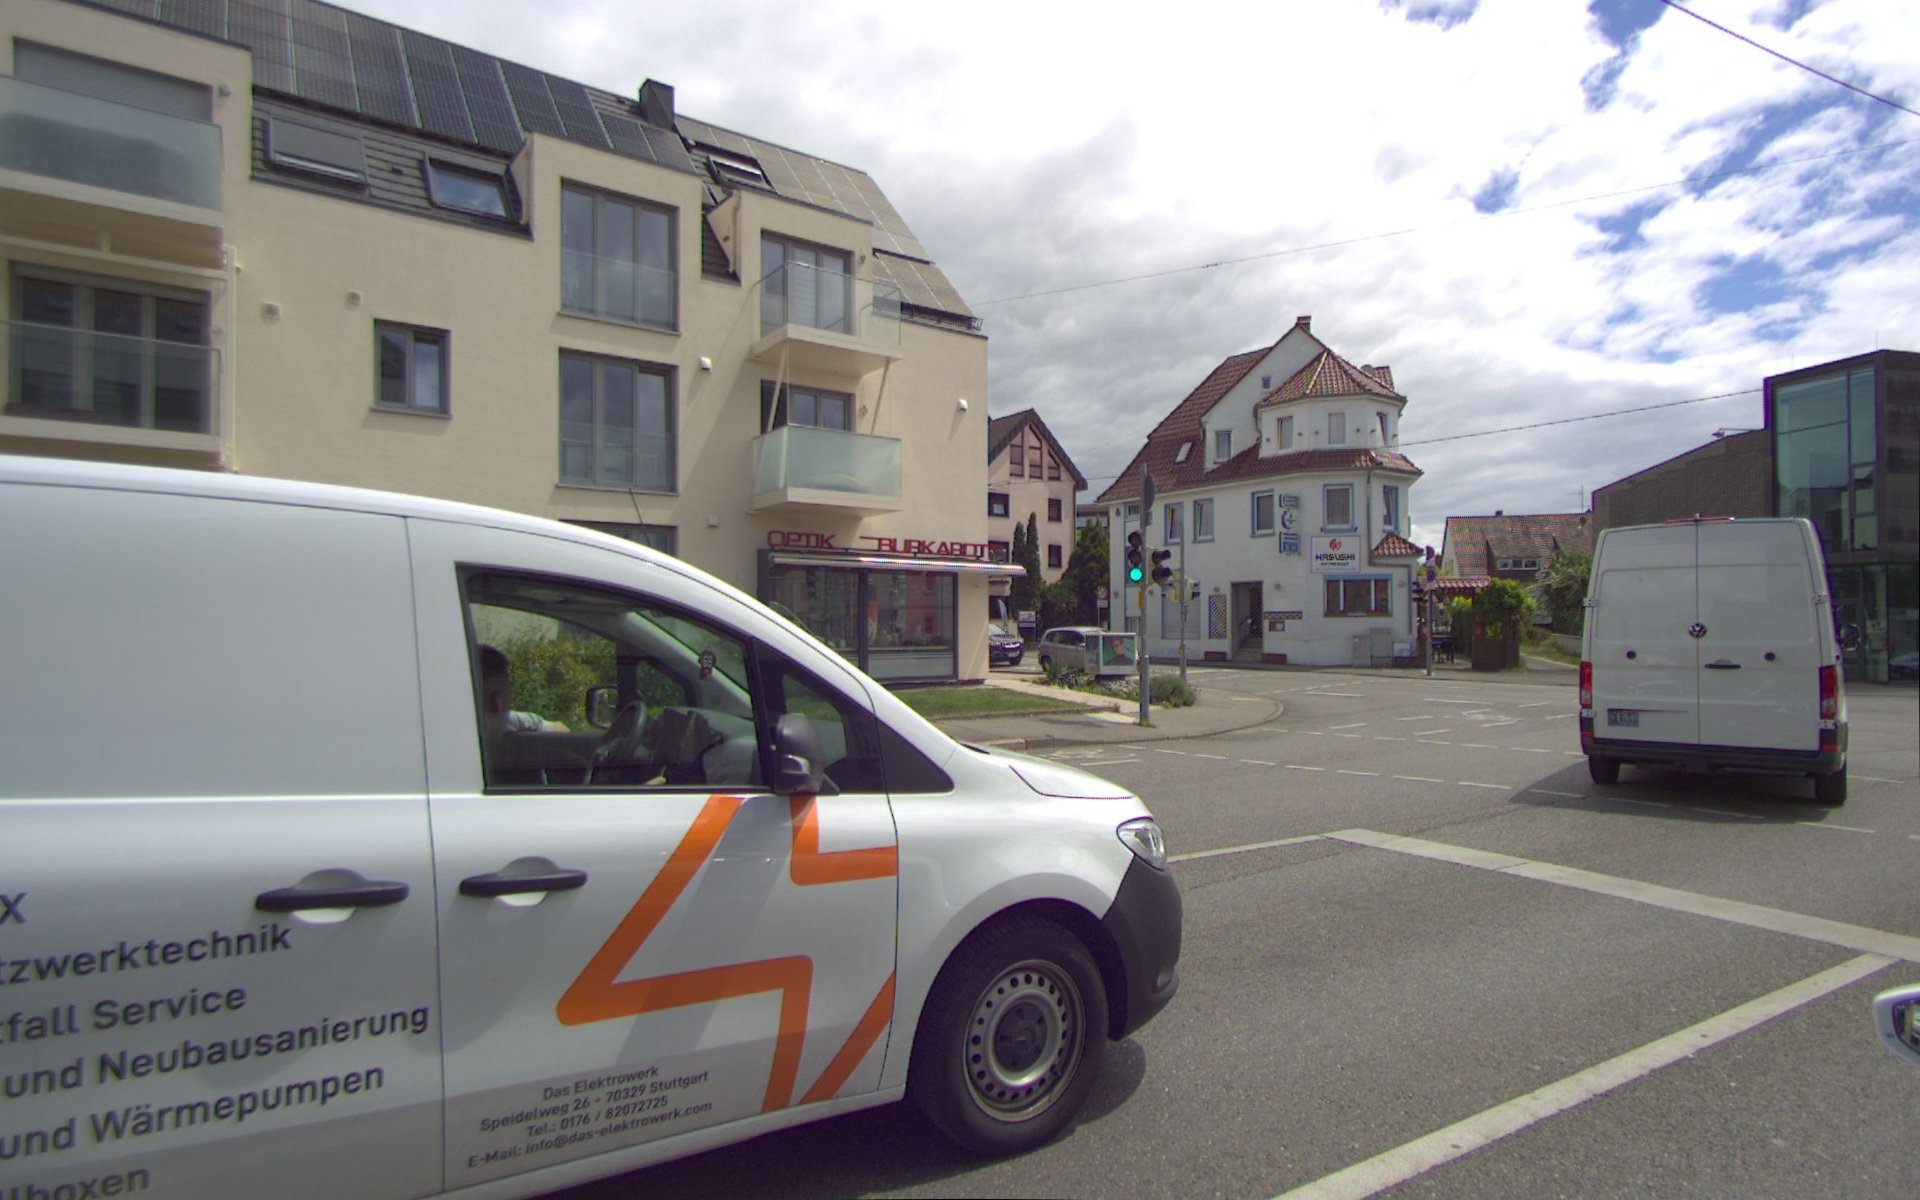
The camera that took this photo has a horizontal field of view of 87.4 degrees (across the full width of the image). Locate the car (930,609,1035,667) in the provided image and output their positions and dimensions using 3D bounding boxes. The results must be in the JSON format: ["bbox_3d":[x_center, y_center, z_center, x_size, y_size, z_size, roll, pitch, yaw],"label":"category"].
[{"bbox_3d":[0.801,1.388,38.109,1.981,2.040,3.958,0,0,-37],"label":"car"}]

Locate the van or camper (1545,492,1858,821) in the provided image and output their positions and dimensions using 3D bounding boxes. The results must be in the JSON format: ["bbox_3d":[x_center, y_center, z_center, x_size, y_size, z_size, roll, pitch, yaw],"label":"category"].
[{"bbox_3d":[8.166,0.558,10.786,2.084,2.620,5.614,-2,-3,43],"label":"van or camper"}]

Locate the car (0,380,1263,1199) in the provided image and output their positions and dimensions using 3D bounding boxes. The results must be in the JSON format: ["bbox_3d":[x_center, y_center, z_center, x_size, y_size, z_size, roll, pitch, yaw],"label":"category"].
[{"bbox_3d":[-1.321,0.580,2.908,4.370,1.836,1.806,1,-1,-32],"label":"car"}]

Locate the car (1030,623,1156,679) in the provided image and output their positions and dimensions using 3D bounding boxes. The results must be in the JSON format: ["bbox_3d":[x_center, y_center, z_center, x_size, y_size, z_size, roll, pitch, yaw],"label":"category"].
[{"bbox_3d":[4.348,1.644,33.339,1.981,1.706,3.959,2,-1,-36],"label":"car"}]
